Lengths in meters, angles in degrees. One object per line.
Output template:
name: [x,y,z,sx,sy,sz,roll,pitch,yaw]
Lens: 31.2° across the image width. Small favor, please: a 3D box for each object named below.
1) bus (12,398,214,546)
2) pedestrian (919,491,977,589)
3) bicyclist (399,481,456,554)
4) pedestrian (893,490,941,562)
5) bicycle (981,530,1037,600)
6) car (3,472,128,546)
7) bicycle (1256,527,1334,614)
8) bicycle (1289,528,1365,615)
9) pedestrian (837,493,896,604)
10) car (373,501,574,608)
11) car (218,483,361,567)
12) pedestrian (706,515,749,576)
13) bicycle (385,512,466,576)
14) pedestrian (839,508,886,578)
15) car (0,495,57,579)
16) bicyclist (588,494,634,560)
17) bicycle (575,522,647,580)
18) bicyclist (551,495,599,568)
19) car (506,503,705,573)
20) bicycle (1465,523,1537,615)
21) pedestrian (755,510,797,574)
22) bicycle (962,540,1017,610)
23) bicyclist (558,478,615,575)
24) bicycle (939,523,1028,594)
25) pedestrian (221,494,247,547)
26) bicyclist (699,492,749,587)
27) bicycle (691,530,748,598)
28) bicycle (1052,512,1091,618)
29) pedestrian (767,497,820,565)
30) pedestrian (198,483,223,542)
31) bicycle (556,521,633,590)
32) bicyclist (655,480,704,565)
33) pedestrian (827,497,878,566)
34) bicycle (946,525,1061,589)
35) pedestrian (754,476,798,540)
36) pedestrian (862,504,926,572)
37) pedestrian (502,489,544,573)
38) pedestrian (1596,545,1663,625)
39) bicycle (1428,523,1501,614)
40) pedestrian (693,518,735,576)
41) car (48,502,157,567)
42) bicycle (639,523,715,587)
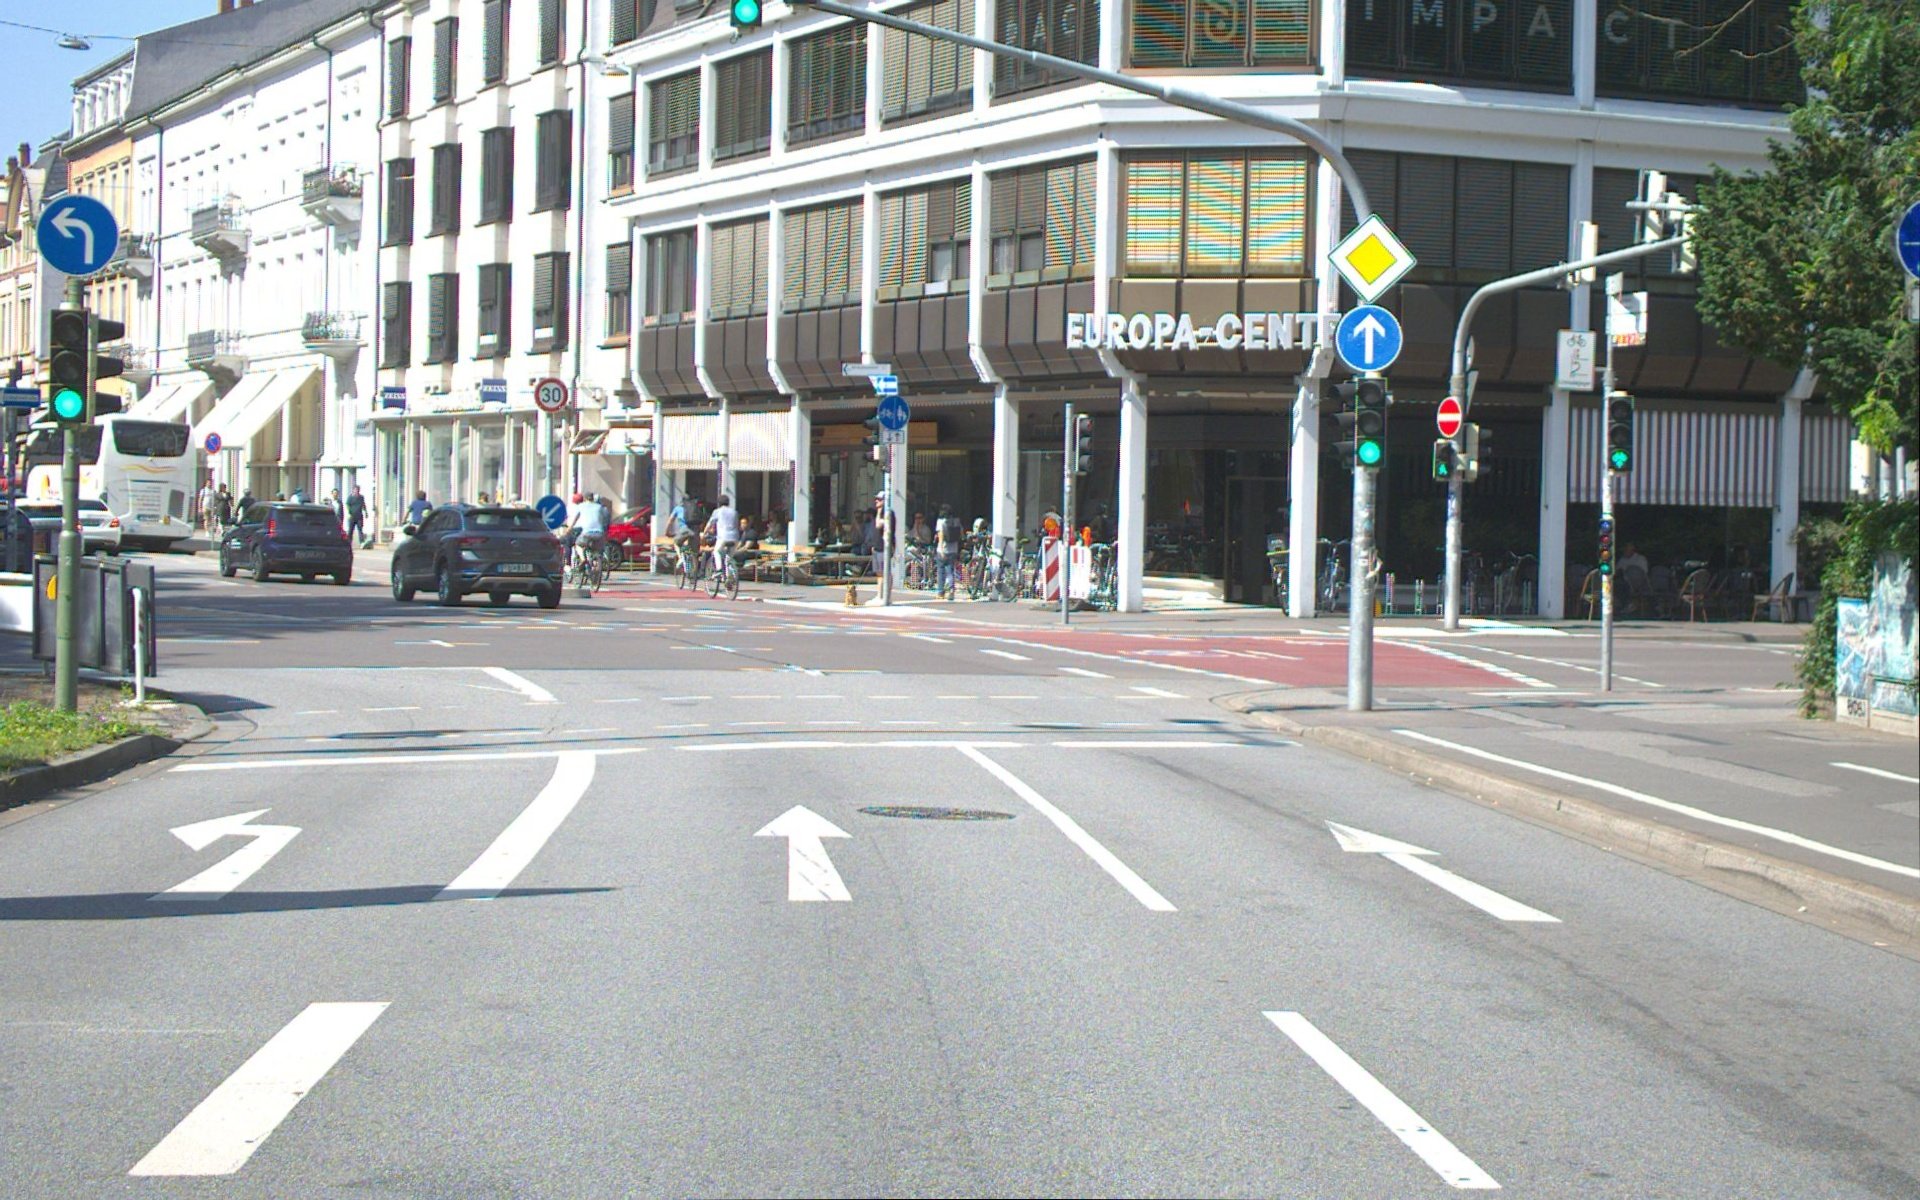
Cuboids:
bus: [-23.724,-3.596,95.723,2.881,3.729,12.430,3,1,-25]
pedestrian: [-0.216,-1.033,59.398,0.832,1.657,0.697,0,0,-16]
bicyclist: [-12.000,-1.865,77.431,0.982,1.593,1.056,1,1,-24]
pedestrian: [-0.851,-1.452,67.685,0.711,1.392,0.697,0,0,-25]
bicycle: [0.830,-0.609,58.725,0.276,1.116,2.244,1,2,-16]
car: [-18.746,-1.920,71.963,1.862,1.436,4.001,1,2,-24]
bicycle: [5.336,-0.475,54.707,0.530,1.312,1.964,2,3,27]
bicycle: [5.829,-0.470,54.518,0.530,1.312,1.856,2,3,27]
pedestrian: [-1.562,-0.864,57.548,0.832,1.829,0.697,0,0,-16]
car: [-7.463,-0.715,52.455,1.833,1.522,4.001,-2,2,-26]
car: [-12.692,-1.410,64.938,1.832,1.522,4.001,-1,1,-23]
pedestrian: [-4.652,-1.089,68.833,0.711,1.212,0.697,0,0,-16]
bicycle: [-12.047,-1.266,77.444,0.978,1.381,3.002,1,1,-25]
pedestrian: [-1.973,-1.145,69.489,0.711,1.392,0.697,0,0,-25]
car: [-17.007,-1.126,59.792,1.936,1.350,4.251,0,2,-23]
bicyclist: [-6.916,-1.448,68.111,0.620,1.292,0.867,1,1,-26]
bicycle: [-6.920,-0.975,68.094,0.620,1.095,2.353,1,1,-26]
bicyclist: [-7.322,-1.305,65.363,0.620,1.350,0.847,1,1,-26]
car: [-7.880,-1.371,76.441,4.043,1.489,1.842,0,0,-23]
bicycle: [8.768,-0.510,55.662,0.530,1.417,1.964,2,3,27]
pedestrian: [-3.975,-1.246,74.277,0.760,1.363,0.478,1,2,-25]
bicycle: [0.489,-0.438,58.490,0.276,1.116,2.244,1,2,-16]
bicyclist: [-6.719,-1.325,61.812,0.694,1.667,0.916,3,2,-23]
bicycle: [0.415,-0.734,60.845,1.545,1.202,0.278,1,2,-17]
pedestrian: [-22.440,-2.465,106.310,0.645,1.612,0.822,1,0,-22]
bicyclist: [-4.083,-1.047,59.441,0.694,1.620,0.836,0,2,-17]
bicycle: [-4.190,-0.635,59.745,0.594,1.116,1.802,1,2,-16]
bicycle: [1.797,-0.561,55.300,0.376,1.477,1.057,-2,-14,15]
pedestrian: [-3.584,-1.479,73.939,0.876,1.363,0.537,6,-1,-25]
pedestrian: [-22.881,-2.664,104.920,0.573,1.772,1.020,0,1,-21]
bicycle: [-6.552,-0.812,61.587,0.664,1.116,2.244,3,2,-24]
bicyclist: [-5.116,-1.423,62.646,0.620,1.524,0.869,1,1,-23]
pedestrian: [-2.194,-1.394,70.314,0.813,1.392,0.697,1,1,-26]
bicycle: [0.784,-0.765,61.738,2.236,1.116,0.277,0,2,-31]
pedestrian: [-4.011,-2.006,74.828,0.744,1.363,0.584,-3,3,-25]
pedestrian: [-1.326,-1.231,68.526,0.895,1.346,1.105,0,1,-25]
pedestrian: [-9.048,-1.427,71.162,0.620,1.714,0.836,1,1,-23]
pedestrian: [11.444,-0.267,58.734,0.828,1.330,0.970,2,2,30]
bicycle: [8.210,-0.527,55.876,0.530,1.417,1.964,2,3,27]
pedestrian: [-4.977,-1.078,69.627,0.711,1.169,0.697,0,0,-16]
car: [-20.792,-1.583,83.245,1.833,1.522,4.001,-1,1,-25]
bicycle: [-5.174,-0.832,62.776,0.620,1.095,2.353,1,1,-24]
